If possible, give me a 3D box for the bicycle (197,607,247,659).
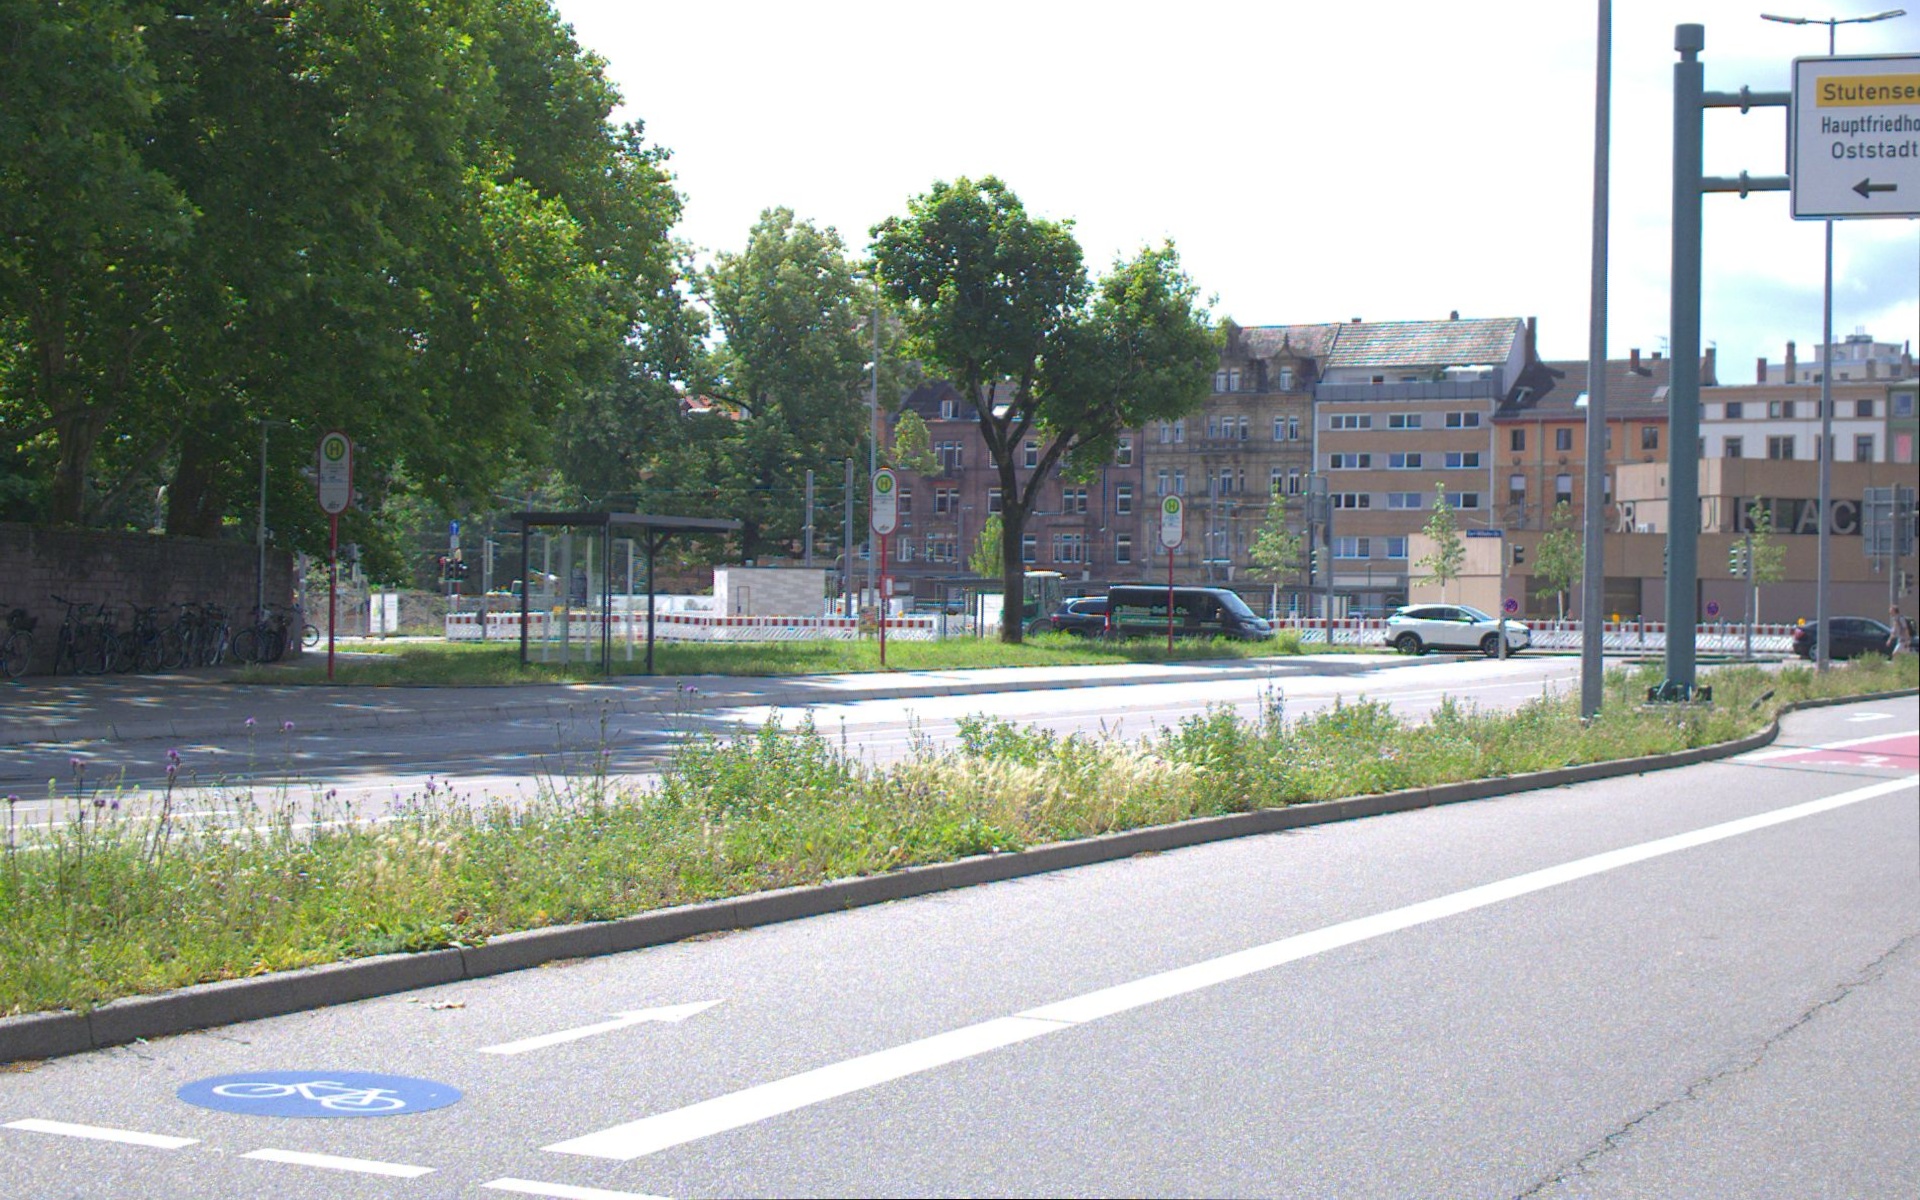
[{"bbox_3d":[-13.229,0.592,61.669,0.452,0.899,1.794,1,0,2],"label":"bicycle"}]

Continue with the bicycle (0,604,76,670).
[{"bbox_3d":[-13.140,0.518,48.397,0.502,0.899,1.664,1,0,19],"label":"bicycle"}]

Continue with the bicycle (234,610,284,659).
[{"bbox_3d":[-13.292,0.655,65.234,0.543,0.899,1.665,1,0,2],"label":"bicycle"}]

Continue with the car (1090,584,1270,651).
[{"bbox_3d":[6.605,0.517,103.077,5.013,1.872,1.927,1,0,20],"label":"car"}]

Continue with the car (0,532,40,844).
[{"bbox_3d":[-6.883,0.449,16.806,2.073,1.661,4.769,1,0,23],"label":"car"}]

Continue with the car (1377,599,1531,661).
[{"bbox_3d":[15.186,0.916,105.692,4.361,1.788,1.998,1,-1,18],"label":"car"}]

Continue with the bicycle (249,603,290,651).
[{"bbox_3d":[-13.518,0.519,67.312,0.543,0.899,1.665,1,0,-3],"label":"bicycle"}]

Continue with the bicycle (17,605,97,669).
[{"bbox_3d":[-13.207,0.535,50.315,0.544,0.899,1.665,1,0,7],"label":"bicycle"}]

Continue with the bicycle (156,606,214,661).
[{"bbox_3d":[-13.103,0.559,58.185,0.543,0.899,1.665,1,0,2],"label":"bicycle"}]

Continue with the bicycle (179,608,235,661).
[{"bbox_3d":[-13.109,0.592,59.884,0.543,0.899,1.665,1,0,2],"label":"bicycle"}]

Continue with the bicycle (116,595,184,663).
[{"bbox_3d":[-12.892,0.449,54.759,0.544,1.048,1.623,1,0,6],"label":"bicycle"}]

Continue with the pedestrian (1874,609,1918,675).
[{"bbox_3d":[22.278,1.000,81.826,0.873,1.554,0.555,1,0,-2],"label":"pedestrian"}]

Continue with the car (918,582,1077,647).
[{"bbox_3d":[1.215,0.467,110.187,4.633,2.007,2.098,1,-1,18],"label":"car"}]

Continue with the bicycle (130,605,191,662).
[{"bbox_3d":[-13.122,0.537,56.457,0.543,0.899,1.665,1,0,2],"label":"bicycle"}]

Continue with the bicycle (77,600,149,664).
[{"bbox_3d":[-13.066,0.483,53.072,0.544,0.948,1.665,1,0,6],"label":"bicycle"}]

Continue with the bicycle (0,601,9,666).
[{"bbox_3d":[-13.512,0.459,46.663,0.544,0.899,1.665,1,0,7],"label":"bicycle"}]
